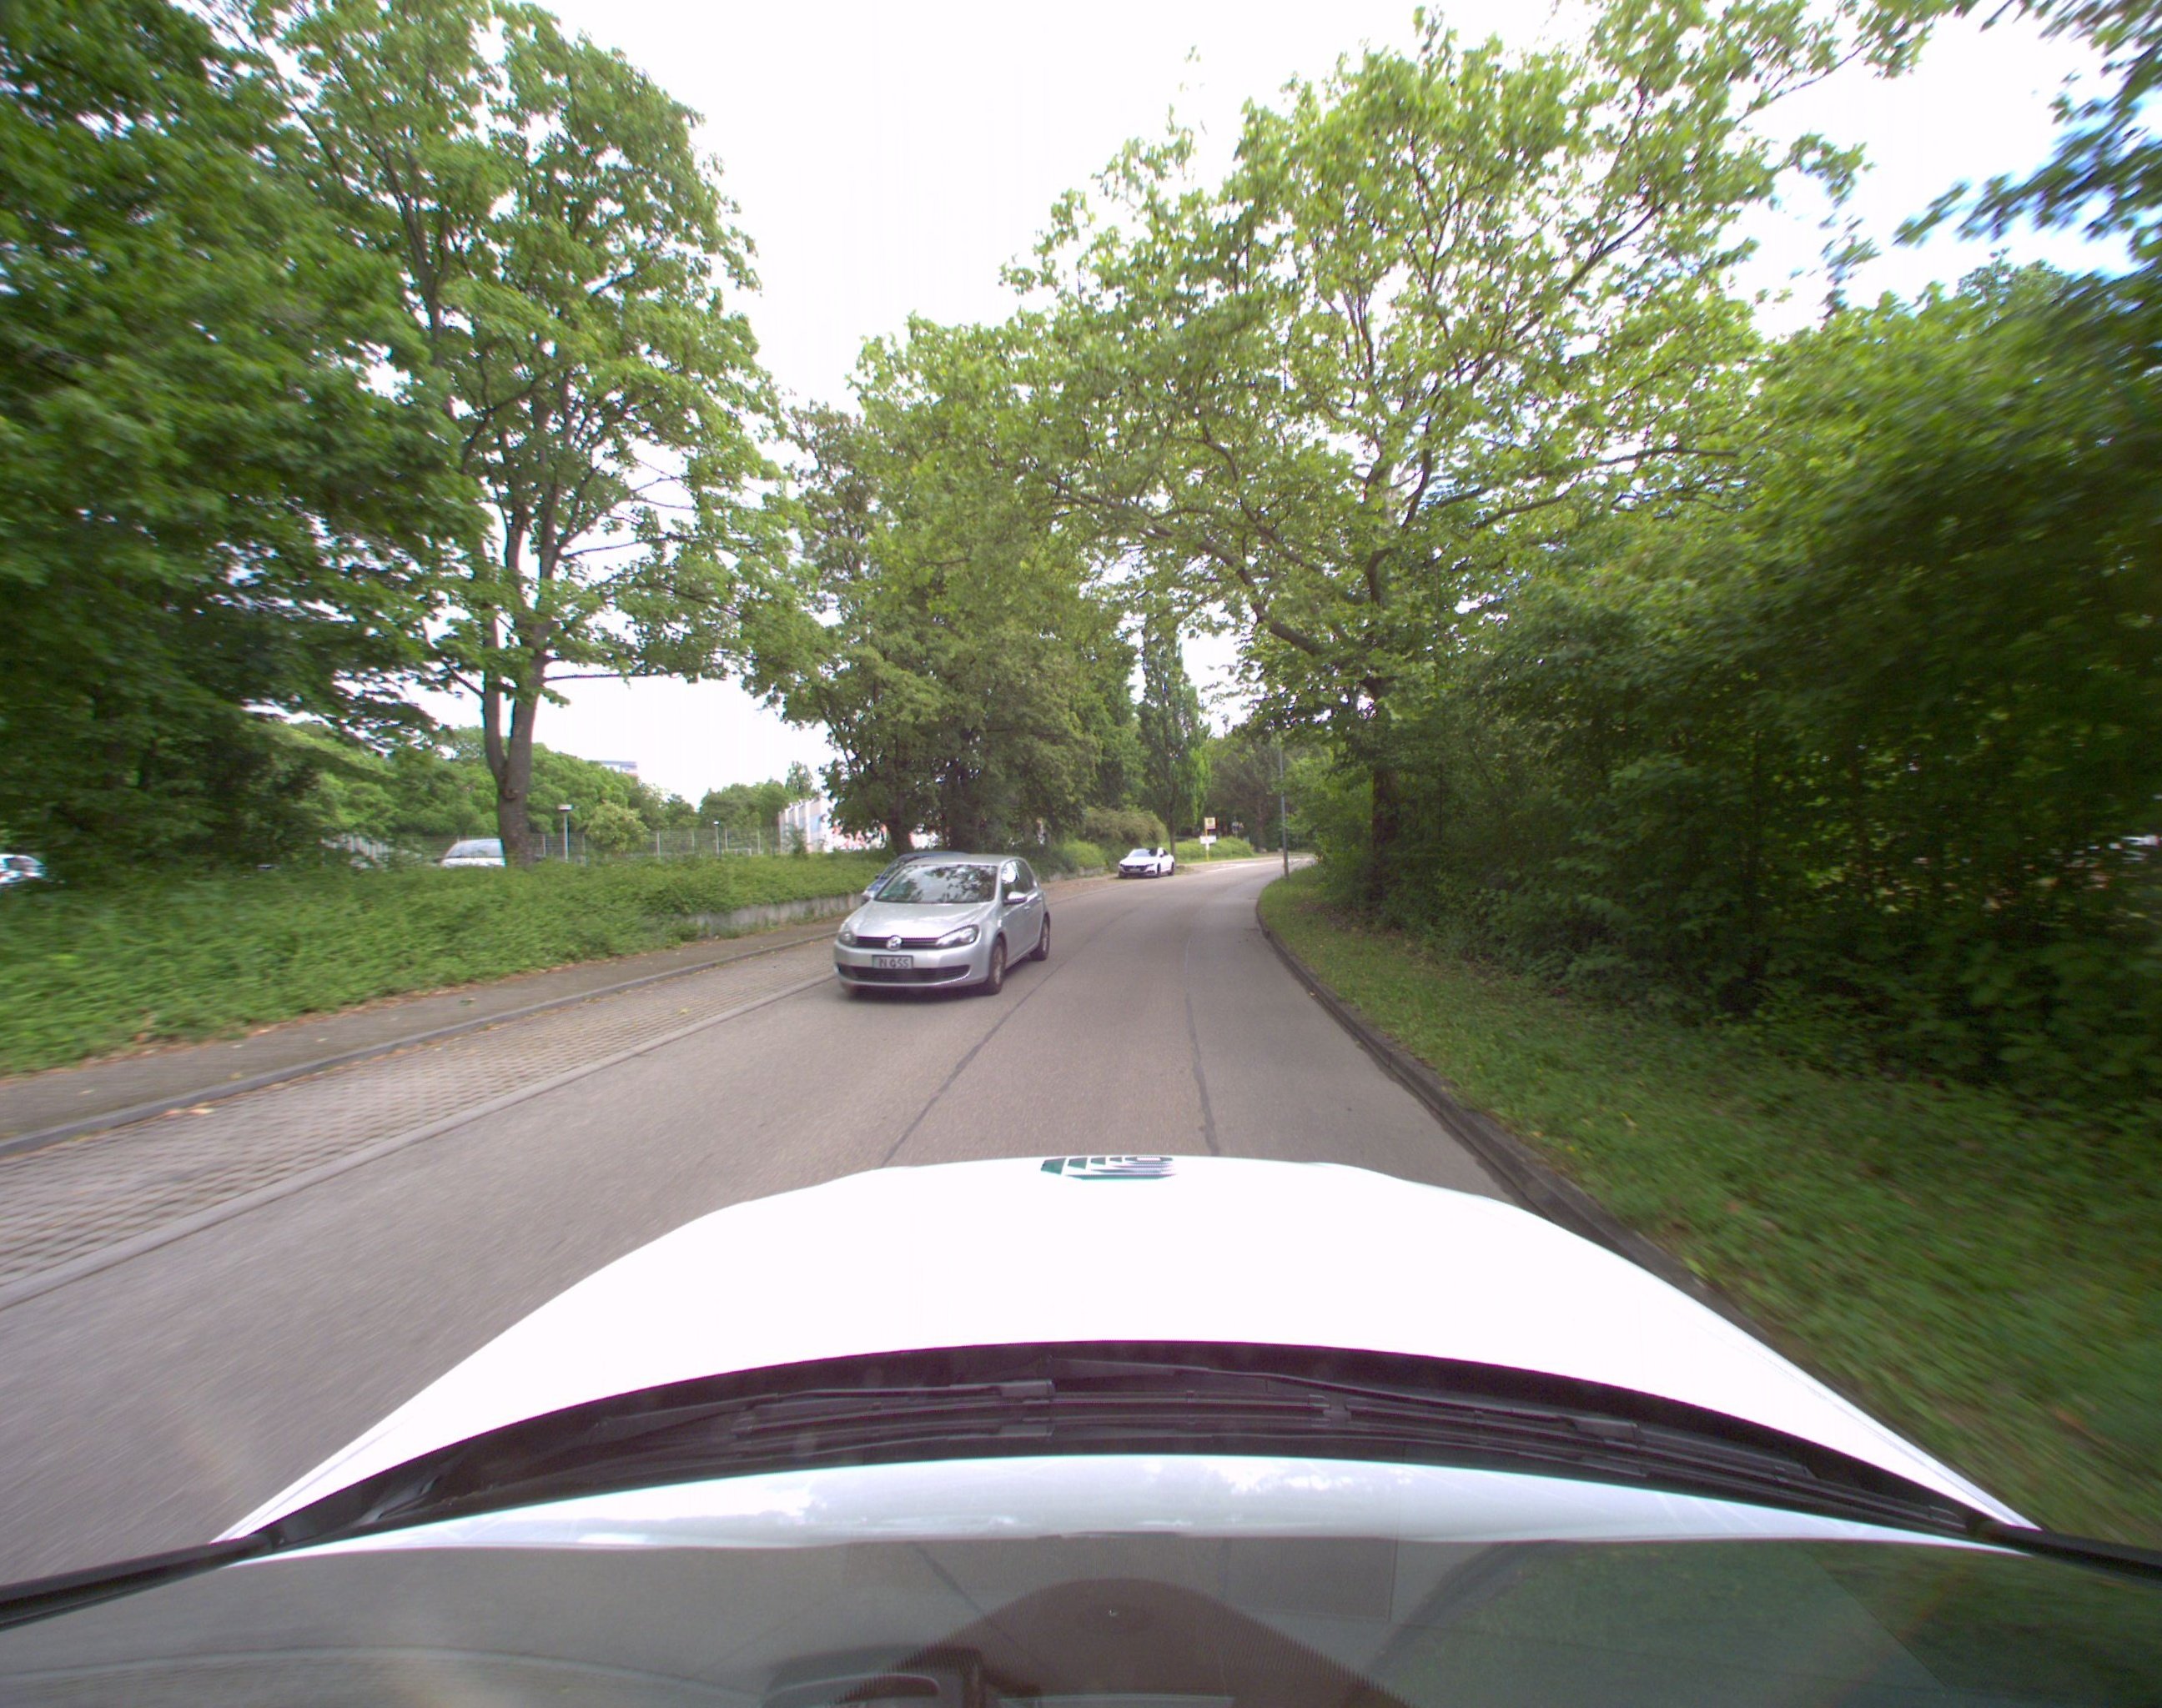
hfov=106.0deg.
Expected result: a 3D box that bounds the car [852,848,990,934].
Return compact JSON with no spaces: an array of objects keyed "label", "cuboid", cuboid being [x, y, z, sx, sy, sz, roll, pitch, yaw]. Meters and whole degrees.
[{"label":"car","cuboid":[-3.069,0.655,16.376,1.525,1.459,3.728,-2,0,8]}]

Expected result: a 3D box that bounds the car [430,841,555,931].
[{"label":"car","cuboid":[-12.476,0.592,17.497,1.752,1.622,3.835,-3,2,-31]}]

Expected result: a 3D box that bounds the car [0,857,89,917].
[{"label":"car","cuboid":[-27.661,0.803,20.816,1.795,1.442,3.582,1,-1,-32]}]

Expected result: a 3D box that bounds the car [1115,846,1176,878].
[{"label":"car","cuboid":[3.133,0.345,38.588,1.799,1.424,4.382,-1,0,19]}]

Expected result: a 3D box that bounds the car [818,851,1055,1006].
[{"label":"car","cuboid":[-1.498,0.721,10.000,1.667,1.462,4.071,0,1,8]}]
